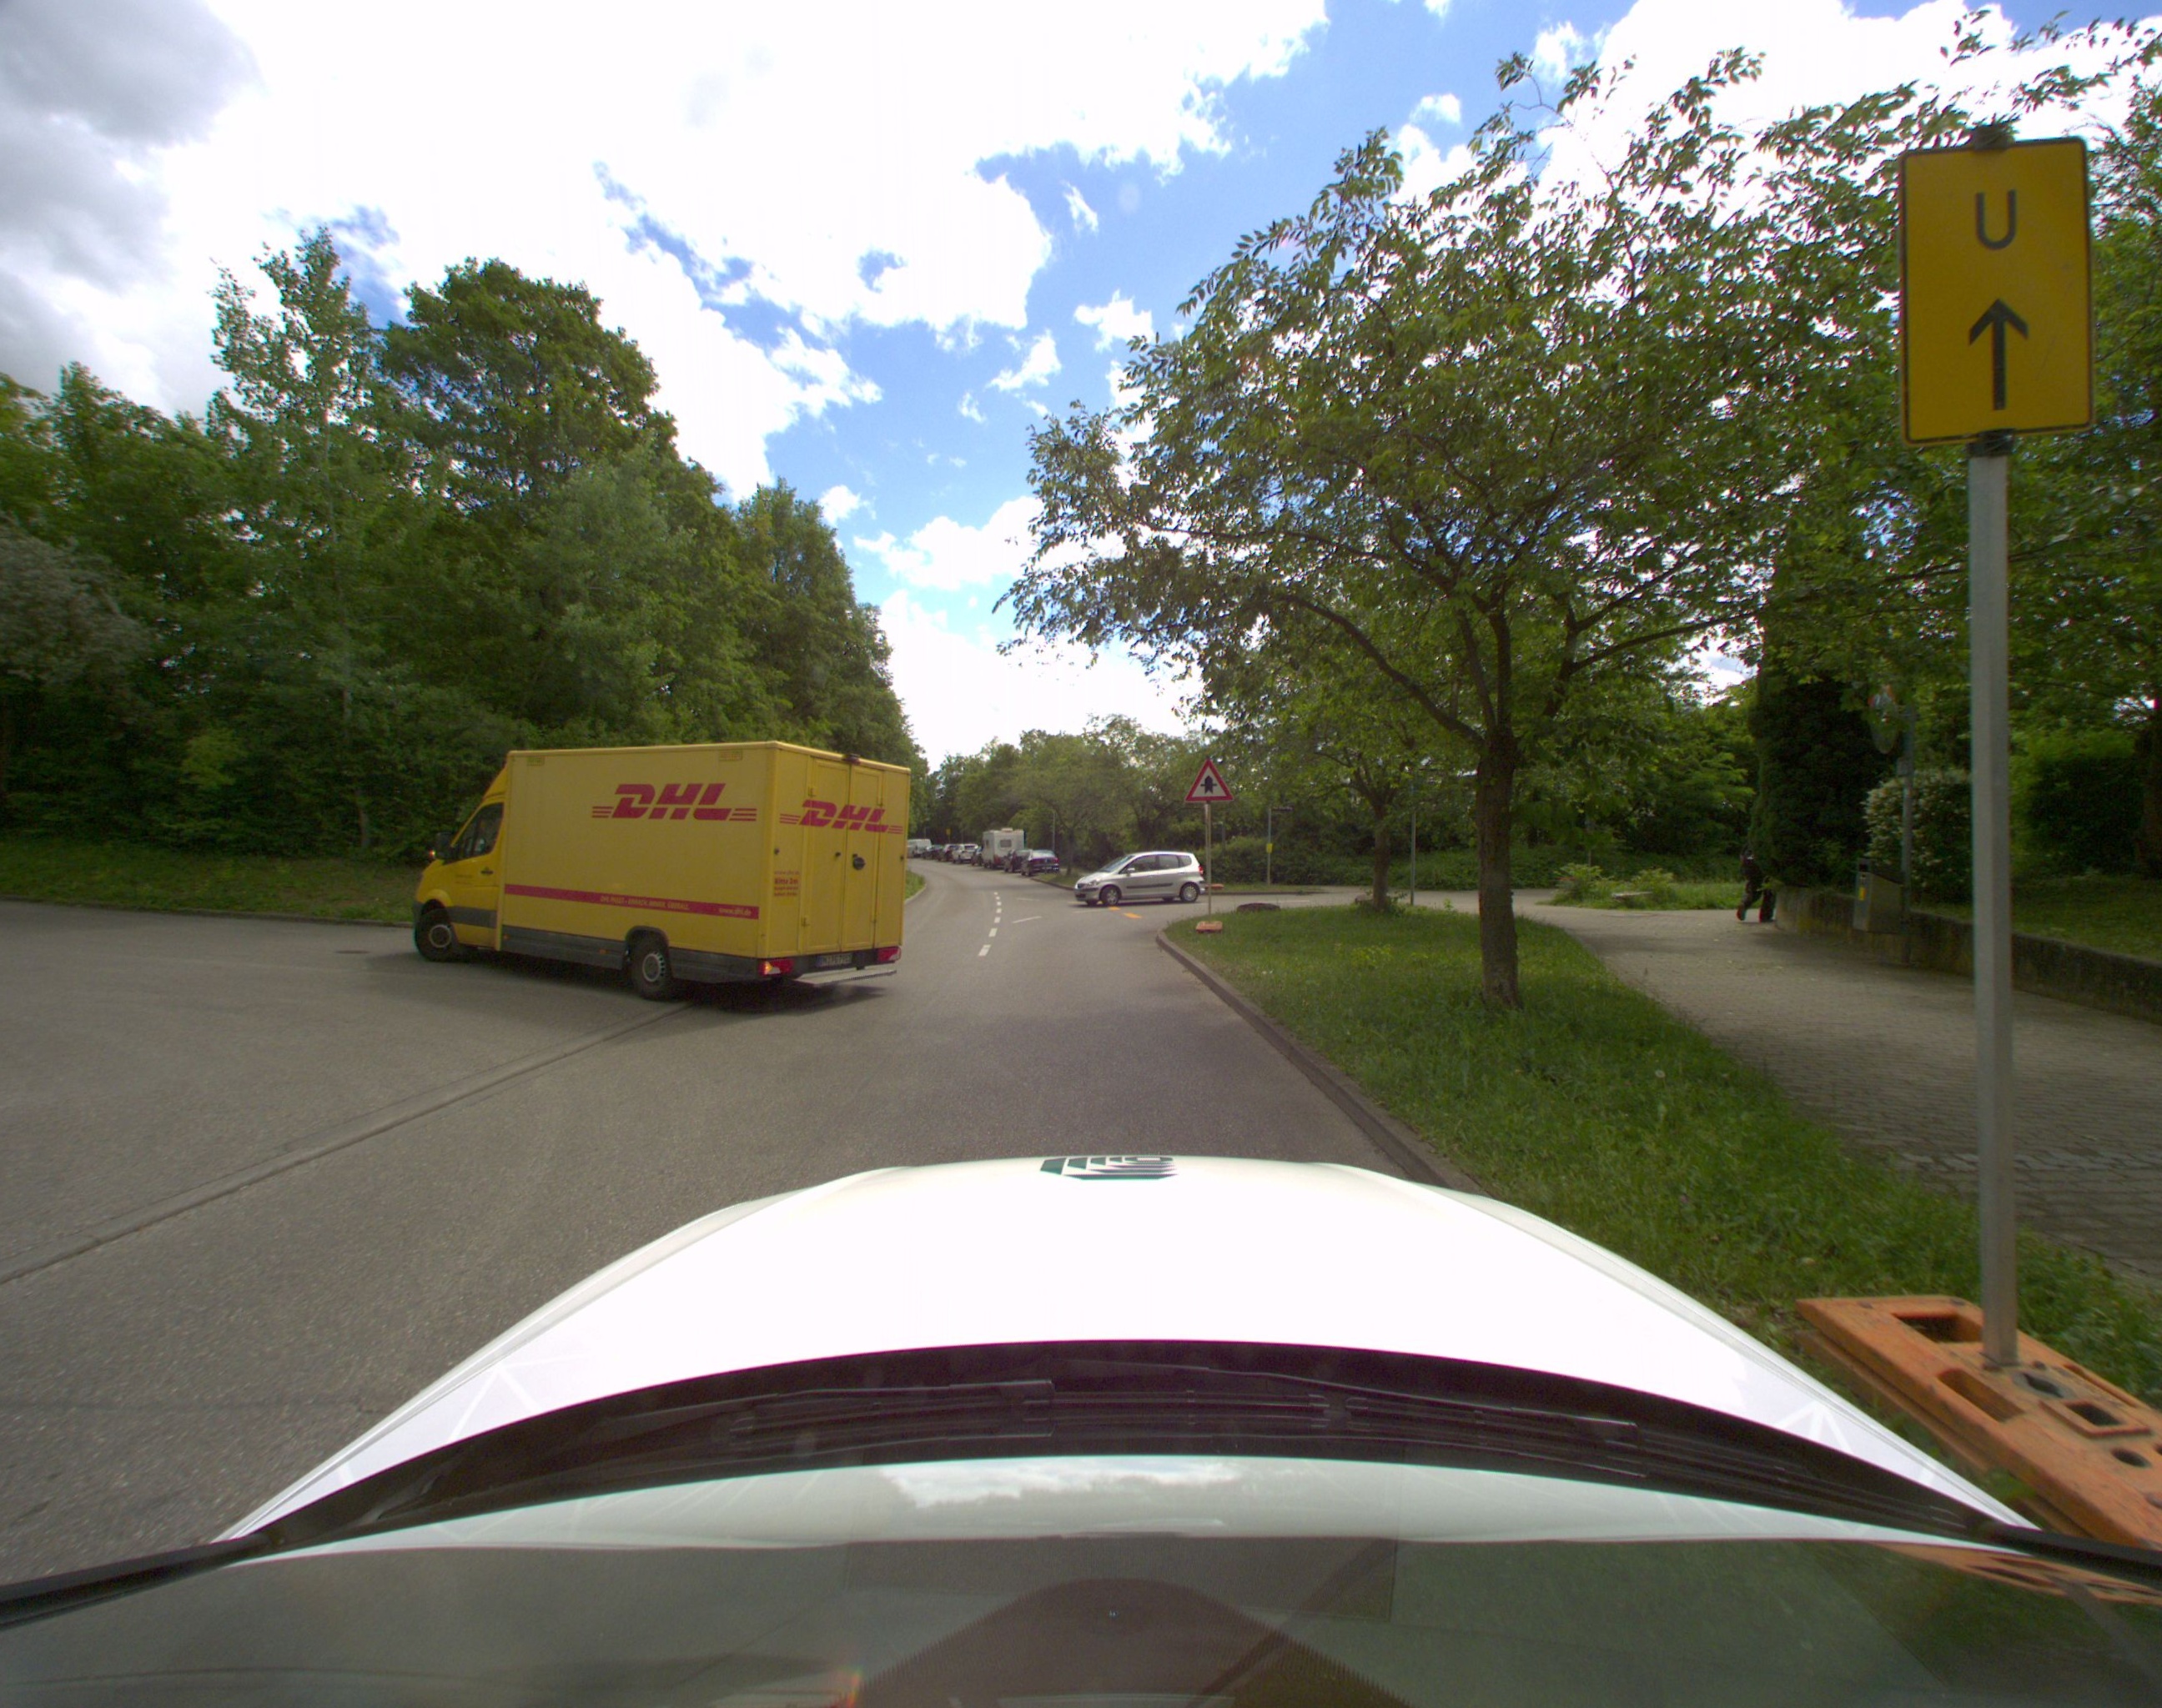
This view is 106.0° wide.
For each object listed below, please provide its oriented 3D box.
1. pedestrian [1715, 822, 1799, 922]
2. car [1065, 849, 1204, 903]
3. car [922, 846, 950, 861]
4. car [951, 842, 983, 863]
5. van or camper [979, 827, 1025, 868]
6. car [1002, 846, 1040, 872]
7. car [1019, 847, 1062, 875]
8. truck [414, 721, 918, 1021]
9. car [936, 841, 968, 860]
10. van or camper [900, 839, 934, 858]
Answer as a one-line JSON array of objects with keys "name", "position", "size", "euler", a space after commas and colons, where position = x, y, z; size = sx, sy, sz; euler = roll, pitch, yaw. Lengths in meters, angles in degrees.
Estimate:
[{"name": "pedestrian", "position": [12.058, 0.309, 14.552], "size": [0.830, 1.737, 0.785], "euler": [-1, -1, -2]}, {"name": "car", "position": [1.531, 0.609, 23.788], "size": [3.650, 1.456, 1.836], "euler": [-1, 0, -18]}, {"name": "car", "position": [-15.127, -0.118, 84.739], "size": [1.808, 1.464, 3.965], "euler": [-2, 2, -27]}, {"name": "car", "position": [-10.295, -0.165, 73.100], "size": [1.878, 1.689, 4.548], "euler": [0, 1, -21]}, {"name": "van or camper", "position": [-5.940, -0.507, 60.714], "size": [2.337, 2.869, 6.117], "euler": [-1, 1, -16]}, {"name": "car", "position": [-3.960, 0.324, 53.297], "size": [1.732, 1.519, 3.868], "euler": [-2, 0, -16]}, {"name": "car", "position": [-2.343, 0.353, 46.356], "size": [1.777, 1.434, 4.316], "euler": [-2, 1, -12]}, {"name": "truck", "position": [-5.337, 0.048, 10.125], "size": [6.489, 2.808, 2.246], "euler": [2, 1, 28]}, {"name": "car", "position": [-12.467, -0.338, 78.514], "size": [2.002, 1.626, 4.246], "euler": [-4, 3, -23]}, {"name": "van or camper", "position": [-18.191, -0.645, 89.916], "size": [2.007, 1.919, 5.215], "euler": [-3, 3, -31]}]
